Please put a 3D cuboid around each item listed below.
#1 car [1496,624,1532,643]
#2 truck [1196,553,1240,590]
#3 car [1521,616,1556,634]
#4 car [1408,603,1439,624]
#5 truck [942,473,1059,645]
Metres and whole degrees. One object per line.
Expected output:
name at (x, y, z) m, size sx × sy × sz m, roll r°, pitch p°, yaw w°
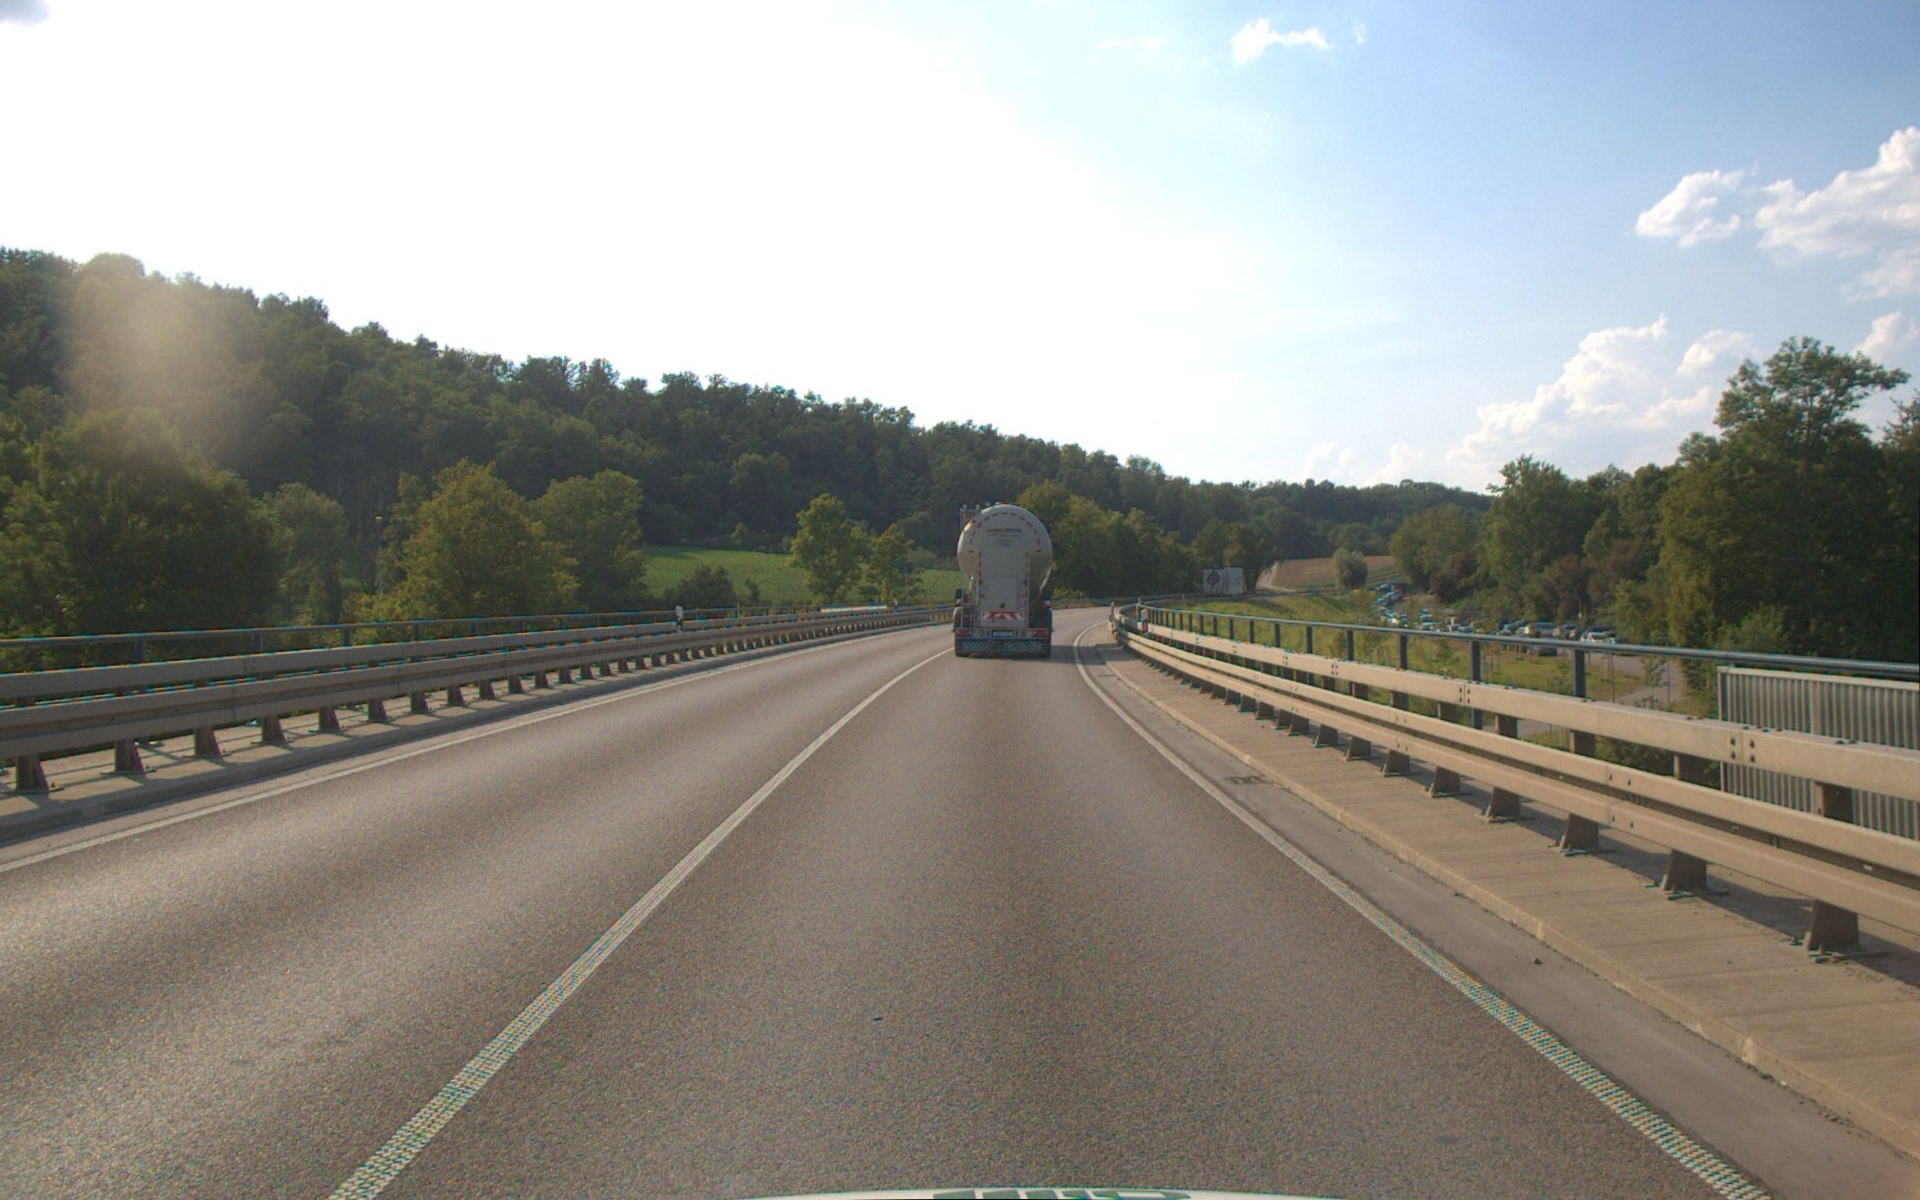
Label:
car at (50.836, 3.066, 151.829) m, size 1.781 × 1.425 × 4.256 m, roll -2°, pitch 2°, yaw -1°
truck at (31.270, -3.509, 200.158) m, size 3.117 × 4.301 × 13.179 m, roll 0°, pitch 2°, yaw 19°
car at (50.768, 2.206, 145.302) m, size 1.620 × 1.522 × 4.223 m, roll 0°, pitch 0°, yaw 1°
car at (52.458, 1.480, 187.218) m, size 2.075 × 2.052 × 5.382 m, roll -3°, pitch 2°, yaw 3°
truck at (1.290, -1.074, 47.817) m, size 2.832 × 4.215 × 13.176 m, roll 1°, pitch 0°, yaw 2°
